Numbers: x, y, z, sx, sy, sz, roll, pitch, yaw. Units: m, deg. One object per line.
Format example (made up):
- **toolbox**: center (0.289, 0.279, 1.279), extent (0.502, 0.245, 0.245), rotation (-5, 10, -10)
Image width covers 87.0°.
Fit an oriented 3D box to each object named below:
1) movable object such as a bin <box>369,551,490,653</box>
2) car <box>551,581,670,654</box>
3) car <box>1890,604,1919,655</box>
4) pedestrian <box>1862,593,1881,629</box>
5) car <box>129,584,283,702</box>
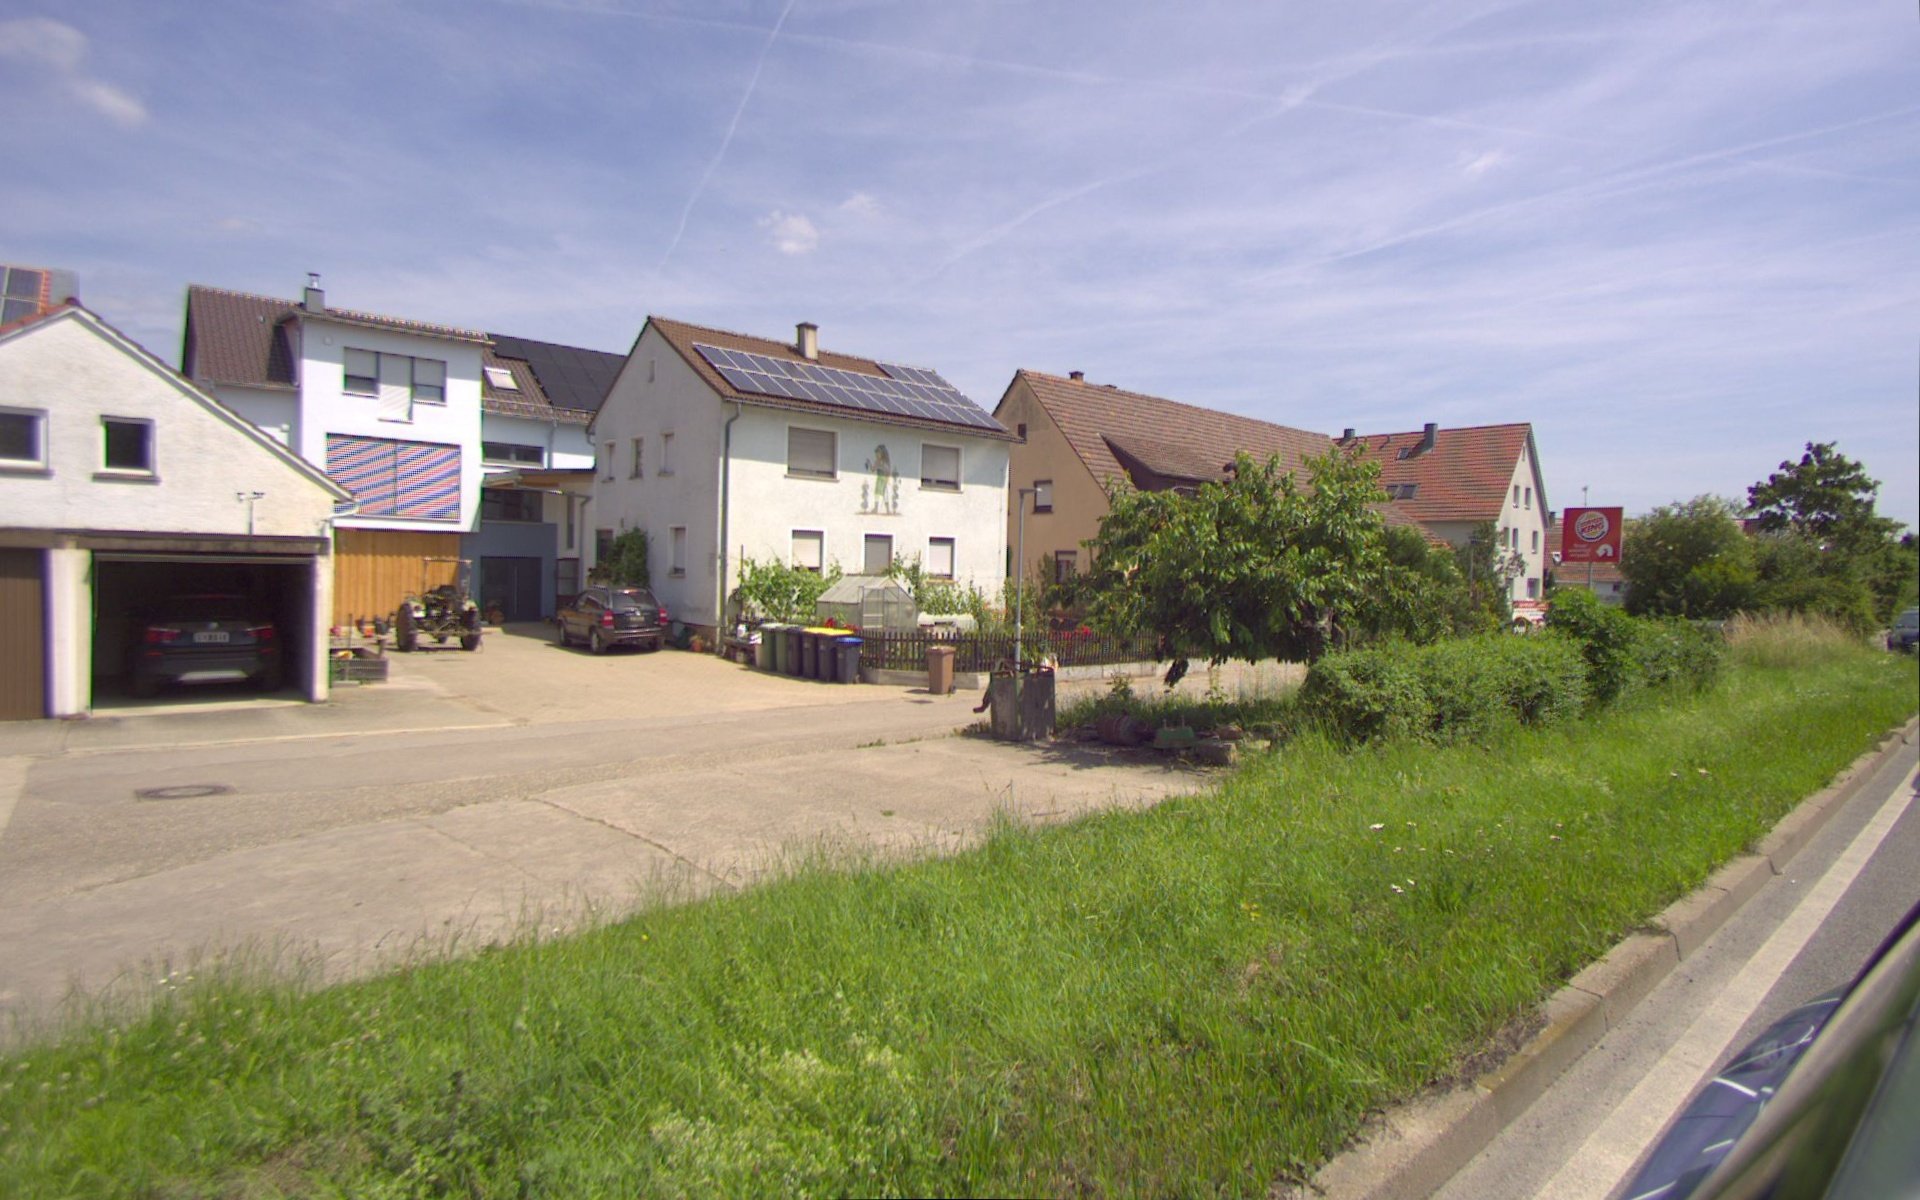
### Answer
- **movable object such as a bin**: center (-13.471, 0.002, 25.603), extent (2.041, 2.372, 3.719), rotation (2, 1, -38)
- **car**: center (-9.385, 0.391, 27.024), extent (1.811, 1.714, 3.959), rotation (-1, 3, -38)
- **car**: center (29.850, 0.870, 31.066), extent (3.493, 1.504, 1.633), rotation (0, -2, -43)
- **pedestrian**: center (41.322, 0.497, 45.876), extent (0.517, 1.568, 0.557), rotation (1, 1, 30)
- **car**: center (-12.420, 0.574, 16.571), extent (1.802, 1.597, 3.995), rotation (-1, 2, -40)
